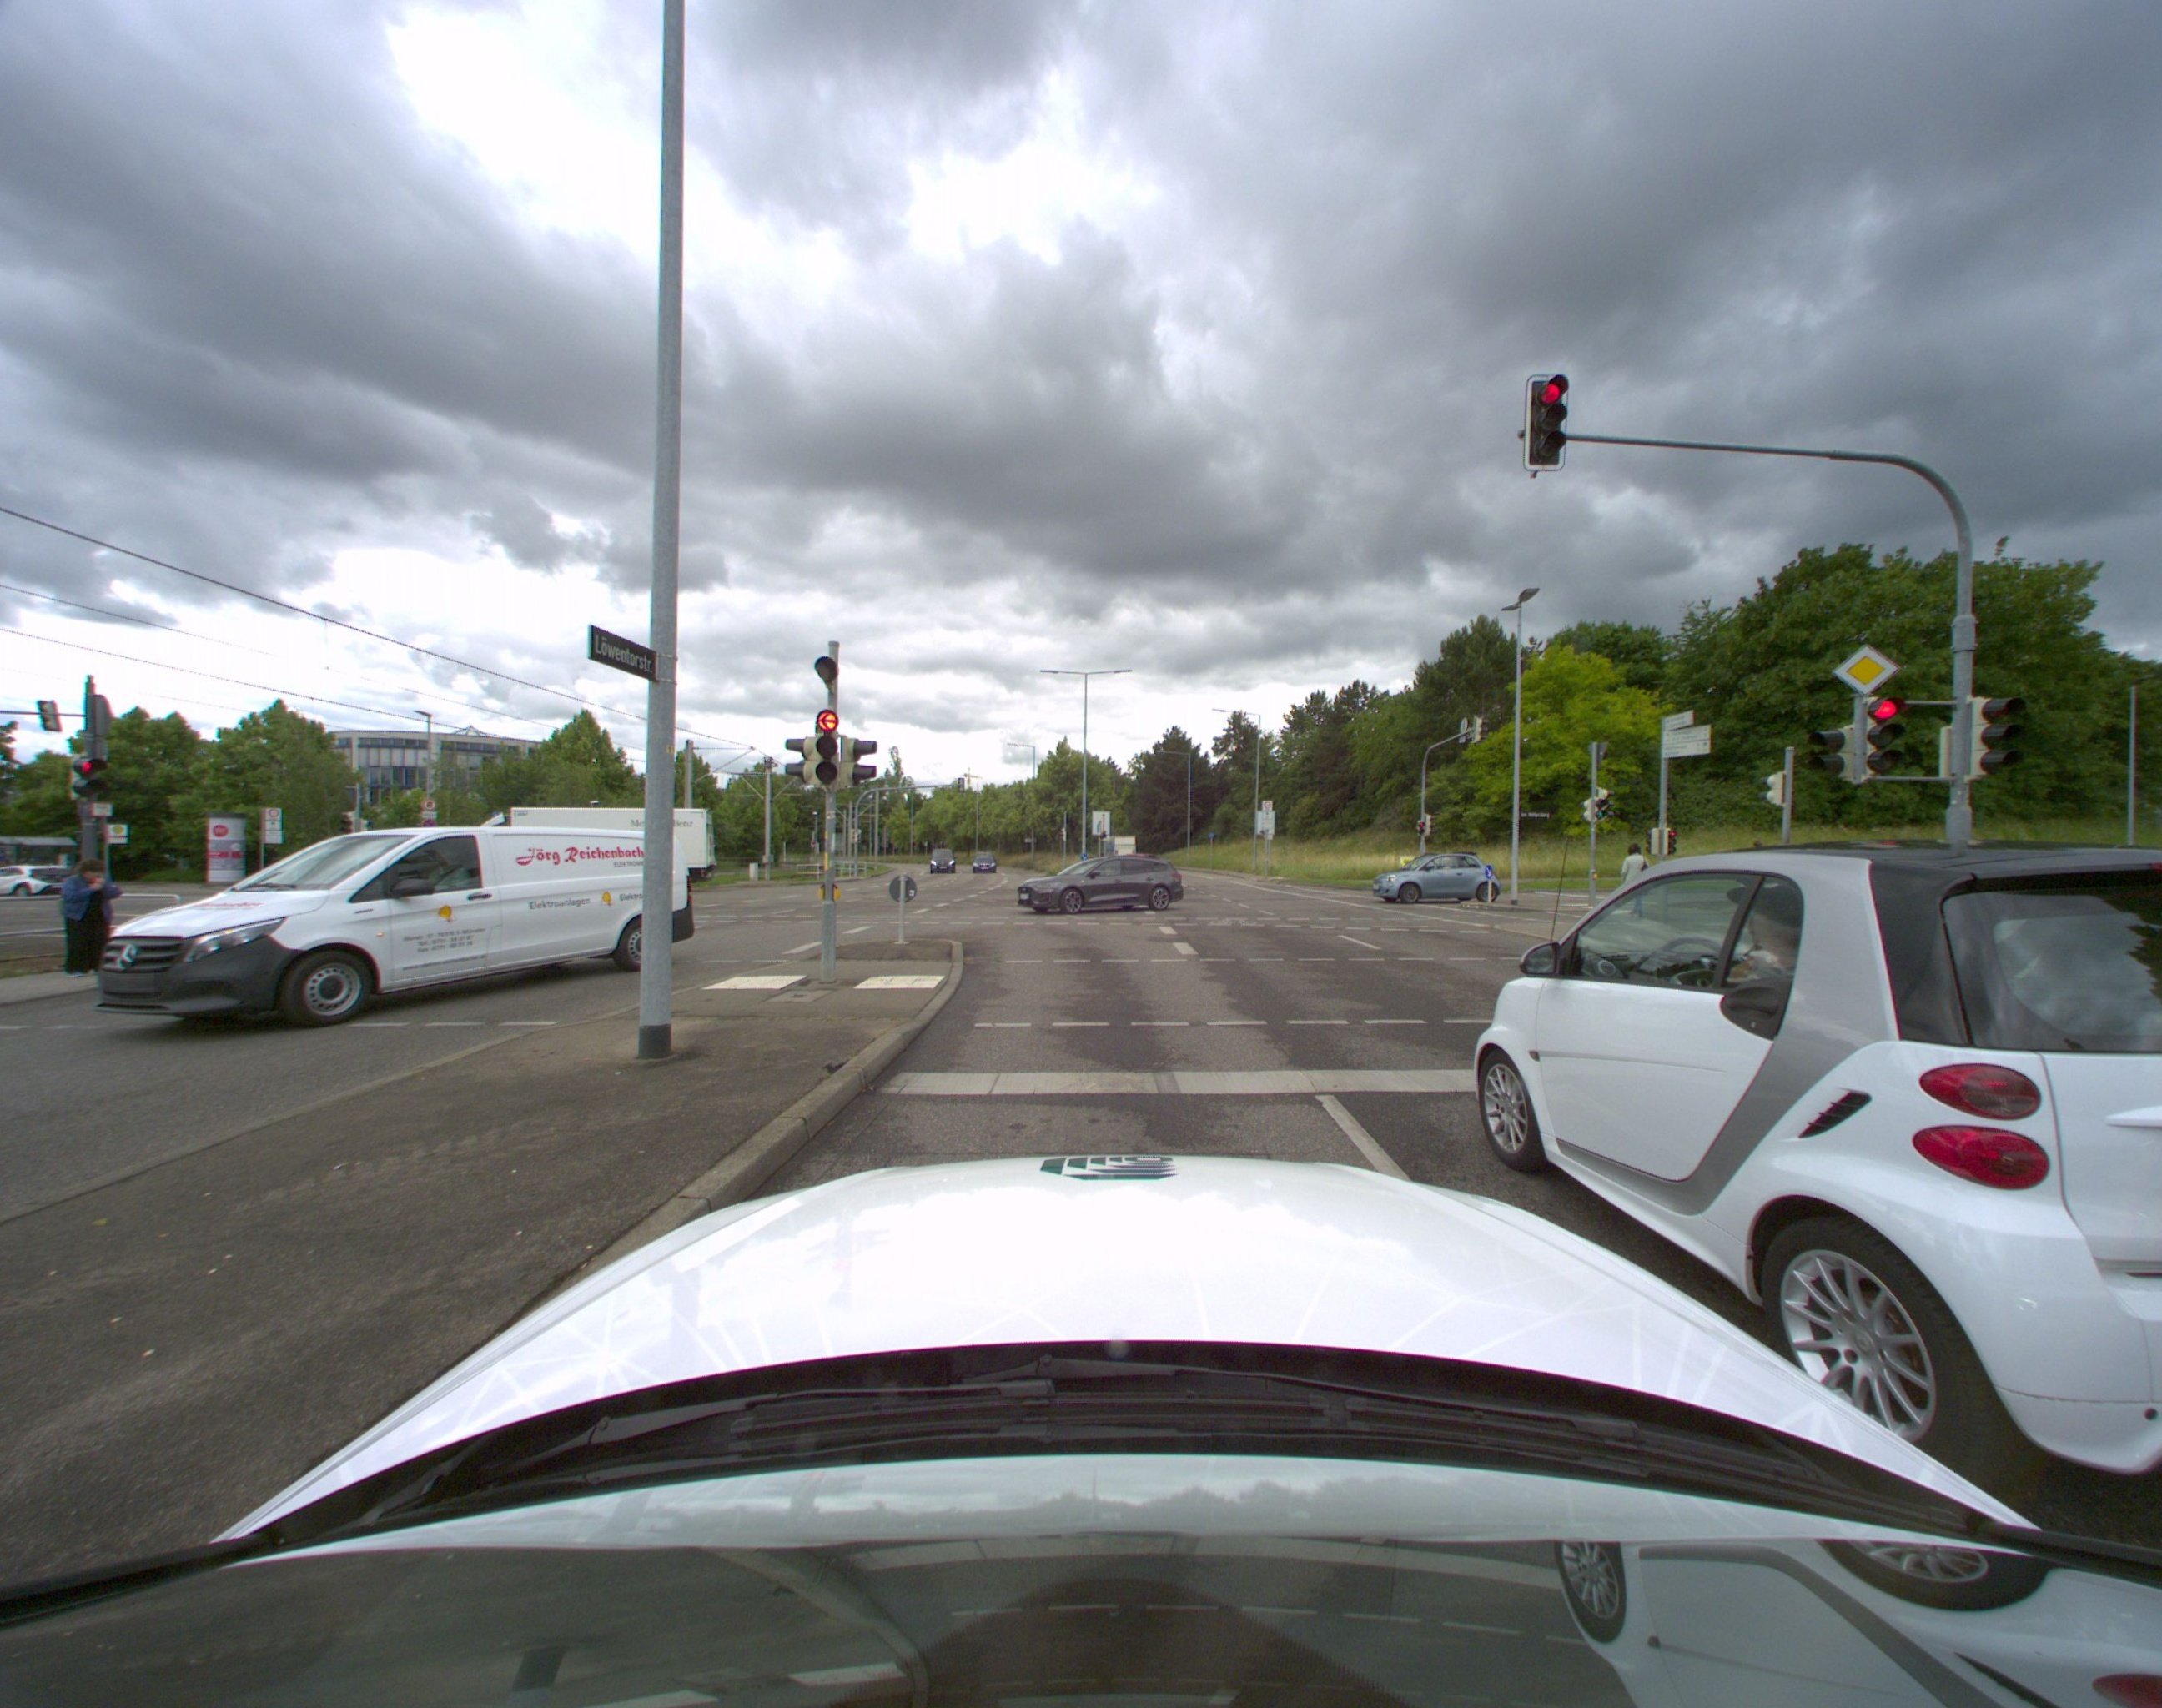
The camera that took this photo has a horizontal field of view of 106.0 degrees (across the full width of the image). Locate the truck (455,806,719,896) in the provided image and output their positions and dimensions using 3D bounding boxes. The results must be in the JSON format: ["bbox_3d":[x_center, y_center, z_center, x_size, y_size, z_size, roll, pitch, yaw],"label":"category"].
[{"bbox_3d":[-20.765,-0.169,35.042,9.290,3.532,2.994,0,0,-22],"label":"truck"}]

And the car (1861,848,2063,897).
[{"bbox_3d":[25.380,0.529,23.571,3.859,1.338,1.698,0,-1,4],"label":"car"}]

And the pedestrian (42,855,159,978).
[{"bbox_3d":[-12.777,0.790,10.634,0.632,1.536,0.719,0,-1,-2],"label":"pedestrian"}]

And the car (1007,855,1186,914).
[{"bbox_3d":[0.439,0.751,21.638,4.446,1.424,1.858,0,-1,-30],"label":"car"}]

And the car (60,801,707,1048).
[{"bbox_3d":[-7.099,0.584,9.346,1.899,1.964,5.399,-1,-1,19],"label":"car"}]

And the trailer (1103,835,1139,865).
[{"bbox_3d":[4.147,-0.386,86.370,2.744,3.012,6.071,0,-1,-8],"label":"trailer"}]

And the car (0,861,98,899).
[{"bbox_3d":[-45.499,1.119,35.318,3.960,1.596,2.054,-1,-1,12],"label":"car"}]

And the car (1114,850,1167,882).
[{"bbox_3d":[3.202,0.612,43.151,1.769,1.603,3.907,-1,-1,21],"label":"car"}]

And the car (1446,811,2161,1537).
[{"bbox_3d":[2.741,0.675,3.079,1.585,1.516,2.768,0,-1,3],"label":"car"}]

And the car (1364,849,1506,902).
[{"bbox_3d":[10.683,0.635,24.776,3.575,1.528,1.762,0,-1,1],"label":"car"}]

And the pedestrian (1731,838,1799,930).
[{"bbox_3d":[12.259,0.529,14.610,0.640,1.612,0.715,0,-1,7],"label":"pedestrian"}]

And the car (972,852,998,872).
[{"bbox_3d":[-7.298,0.613,62.313,1.732,1.508,3.656,0,-1,-3],"label":"car"}]

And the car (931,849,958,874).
[{"bbox_3d":[-10.659,0.563,63.864,1.886,1.812,5.079,-1,0,-7],"label":"car"}]

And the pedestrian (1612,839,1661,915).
[{"bbox_3d":[12.407,0.510,18.220,0.640,1.662,0.715,-1,-1,8],"label":"pedestrian"}]
